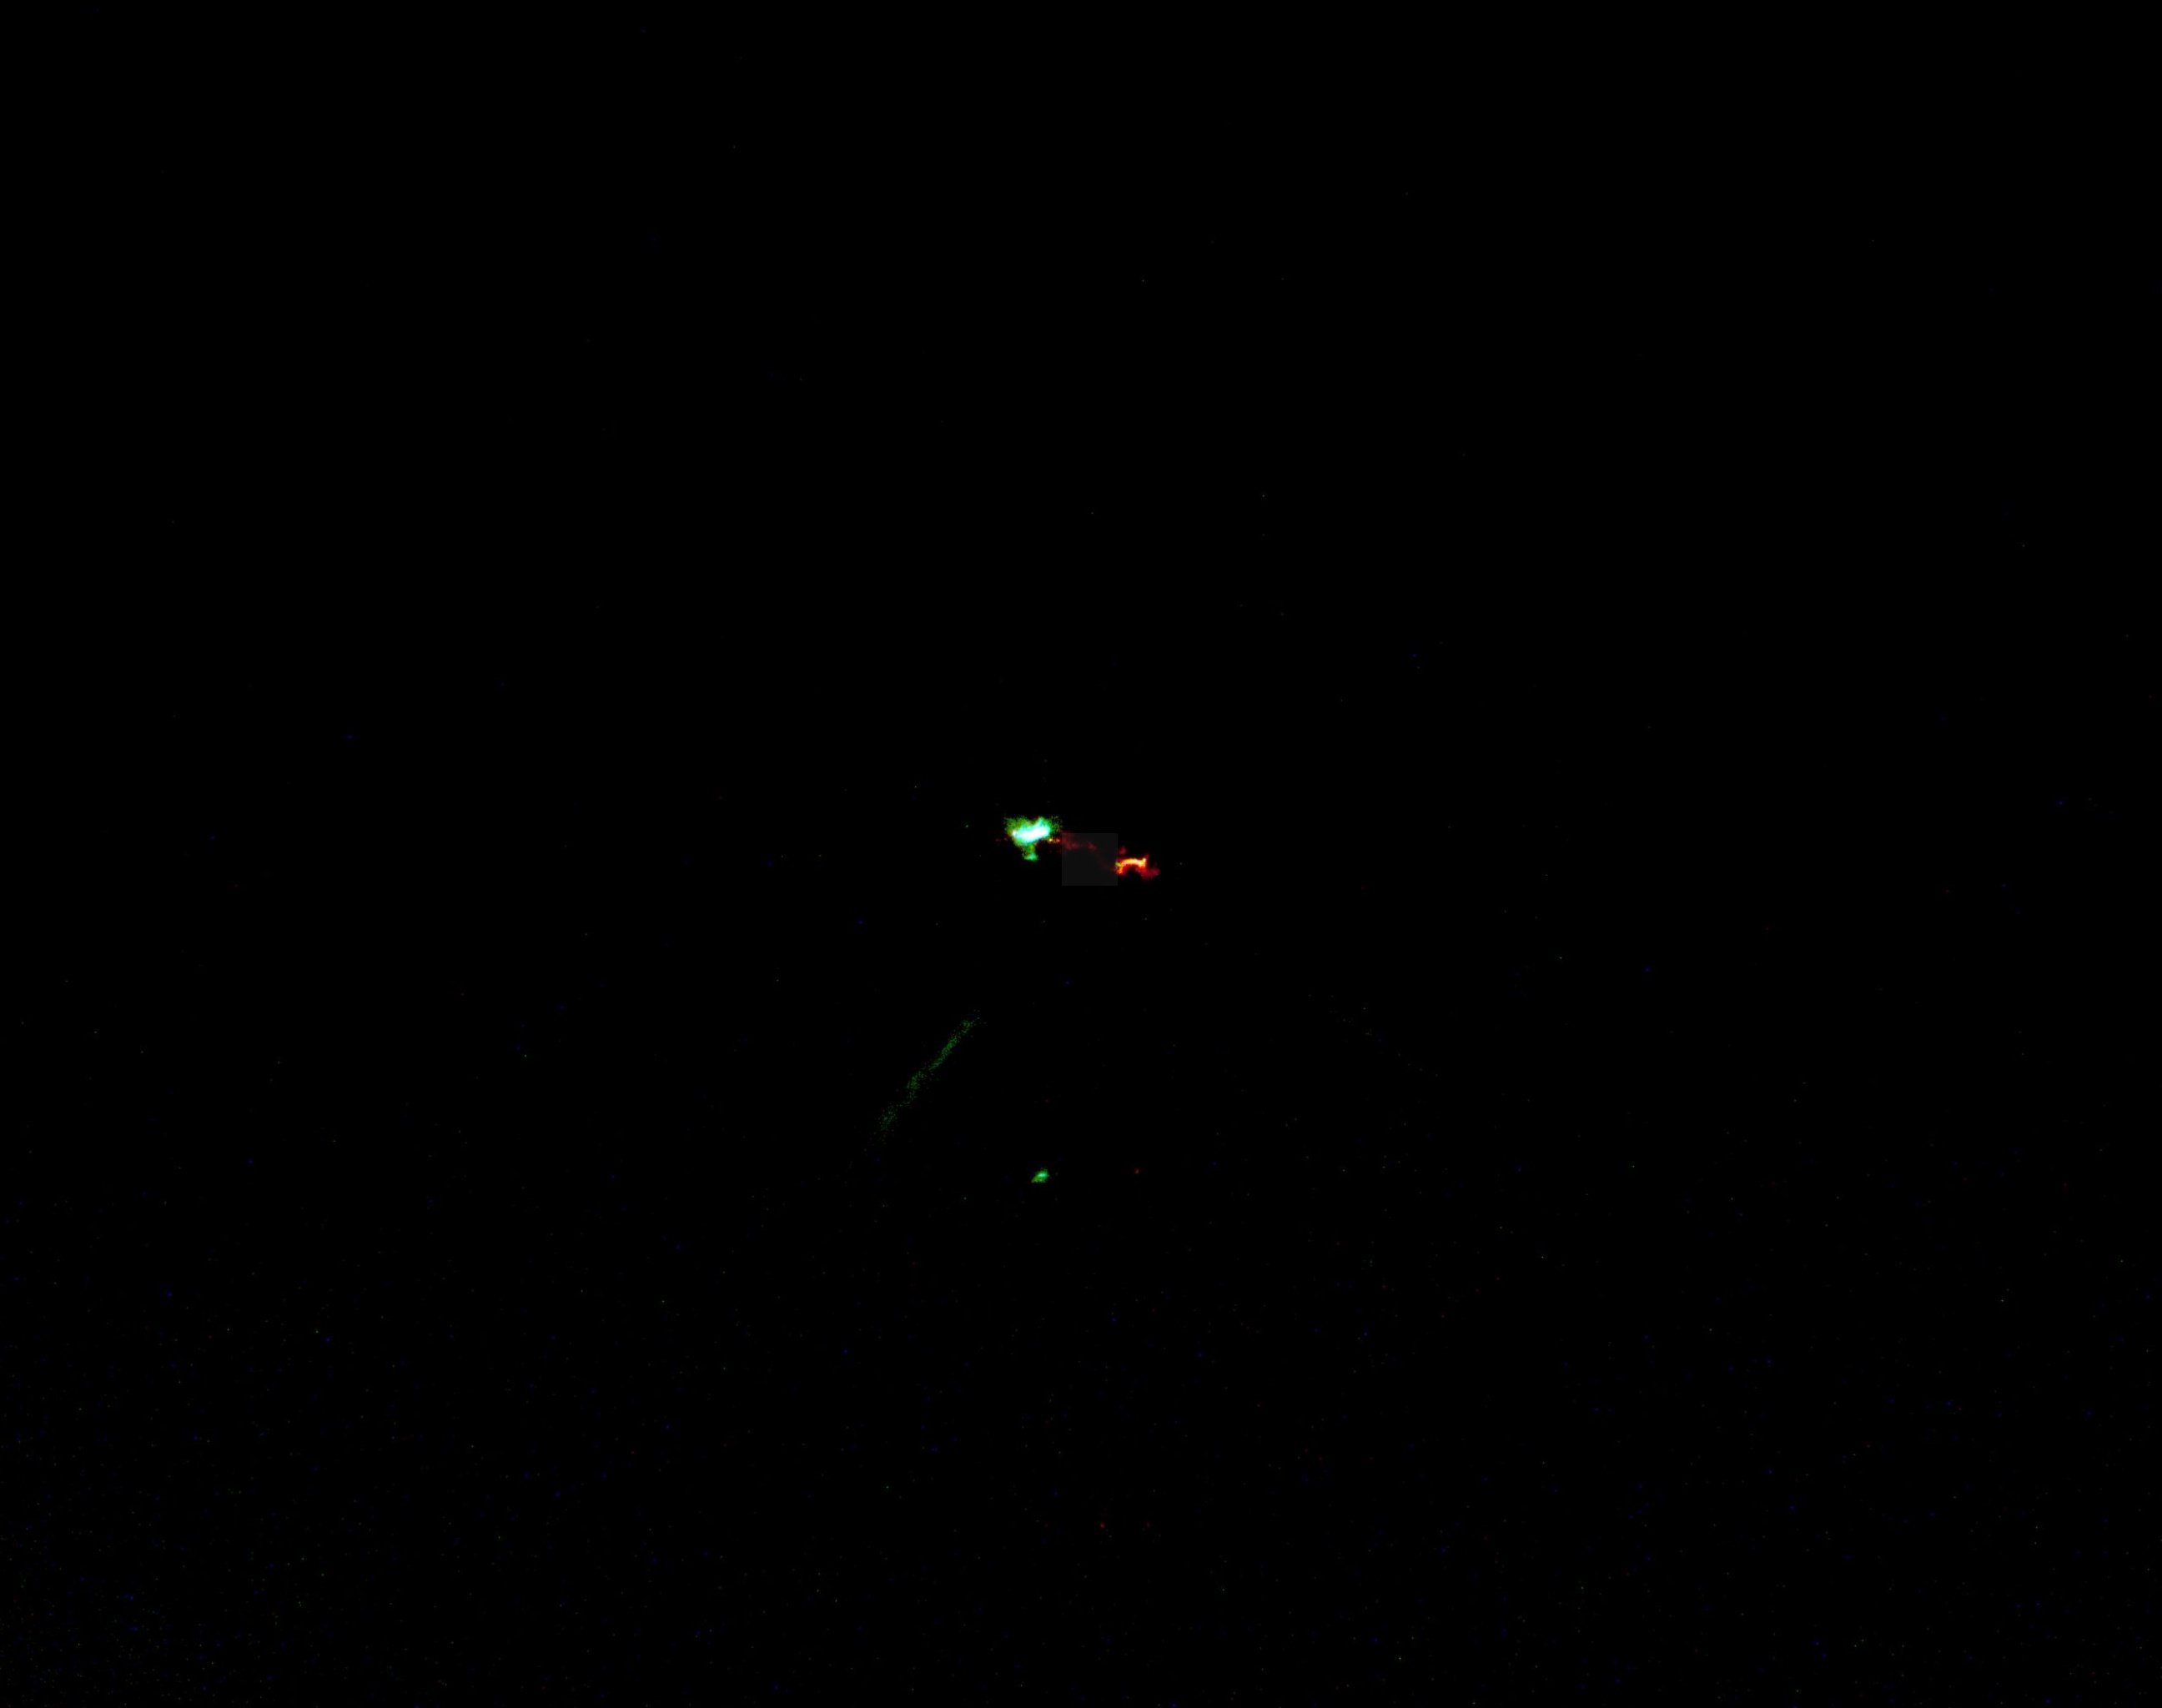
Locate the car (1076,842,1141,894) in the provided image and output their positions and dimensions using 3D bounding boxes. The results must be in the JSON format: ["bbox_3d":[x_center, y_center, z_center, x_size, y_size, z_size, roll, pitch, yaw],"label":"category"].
[{"bbox_3d":[1.138,0.545,33.214,2.448,1.958,4.914,0,0,2],"label":"car"}]

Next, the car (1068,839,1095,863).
[{"bbox_3d":[0.047,-0.261,71.572,1.990,2.013,3.993,2,1,-5],"label":"car"}]
